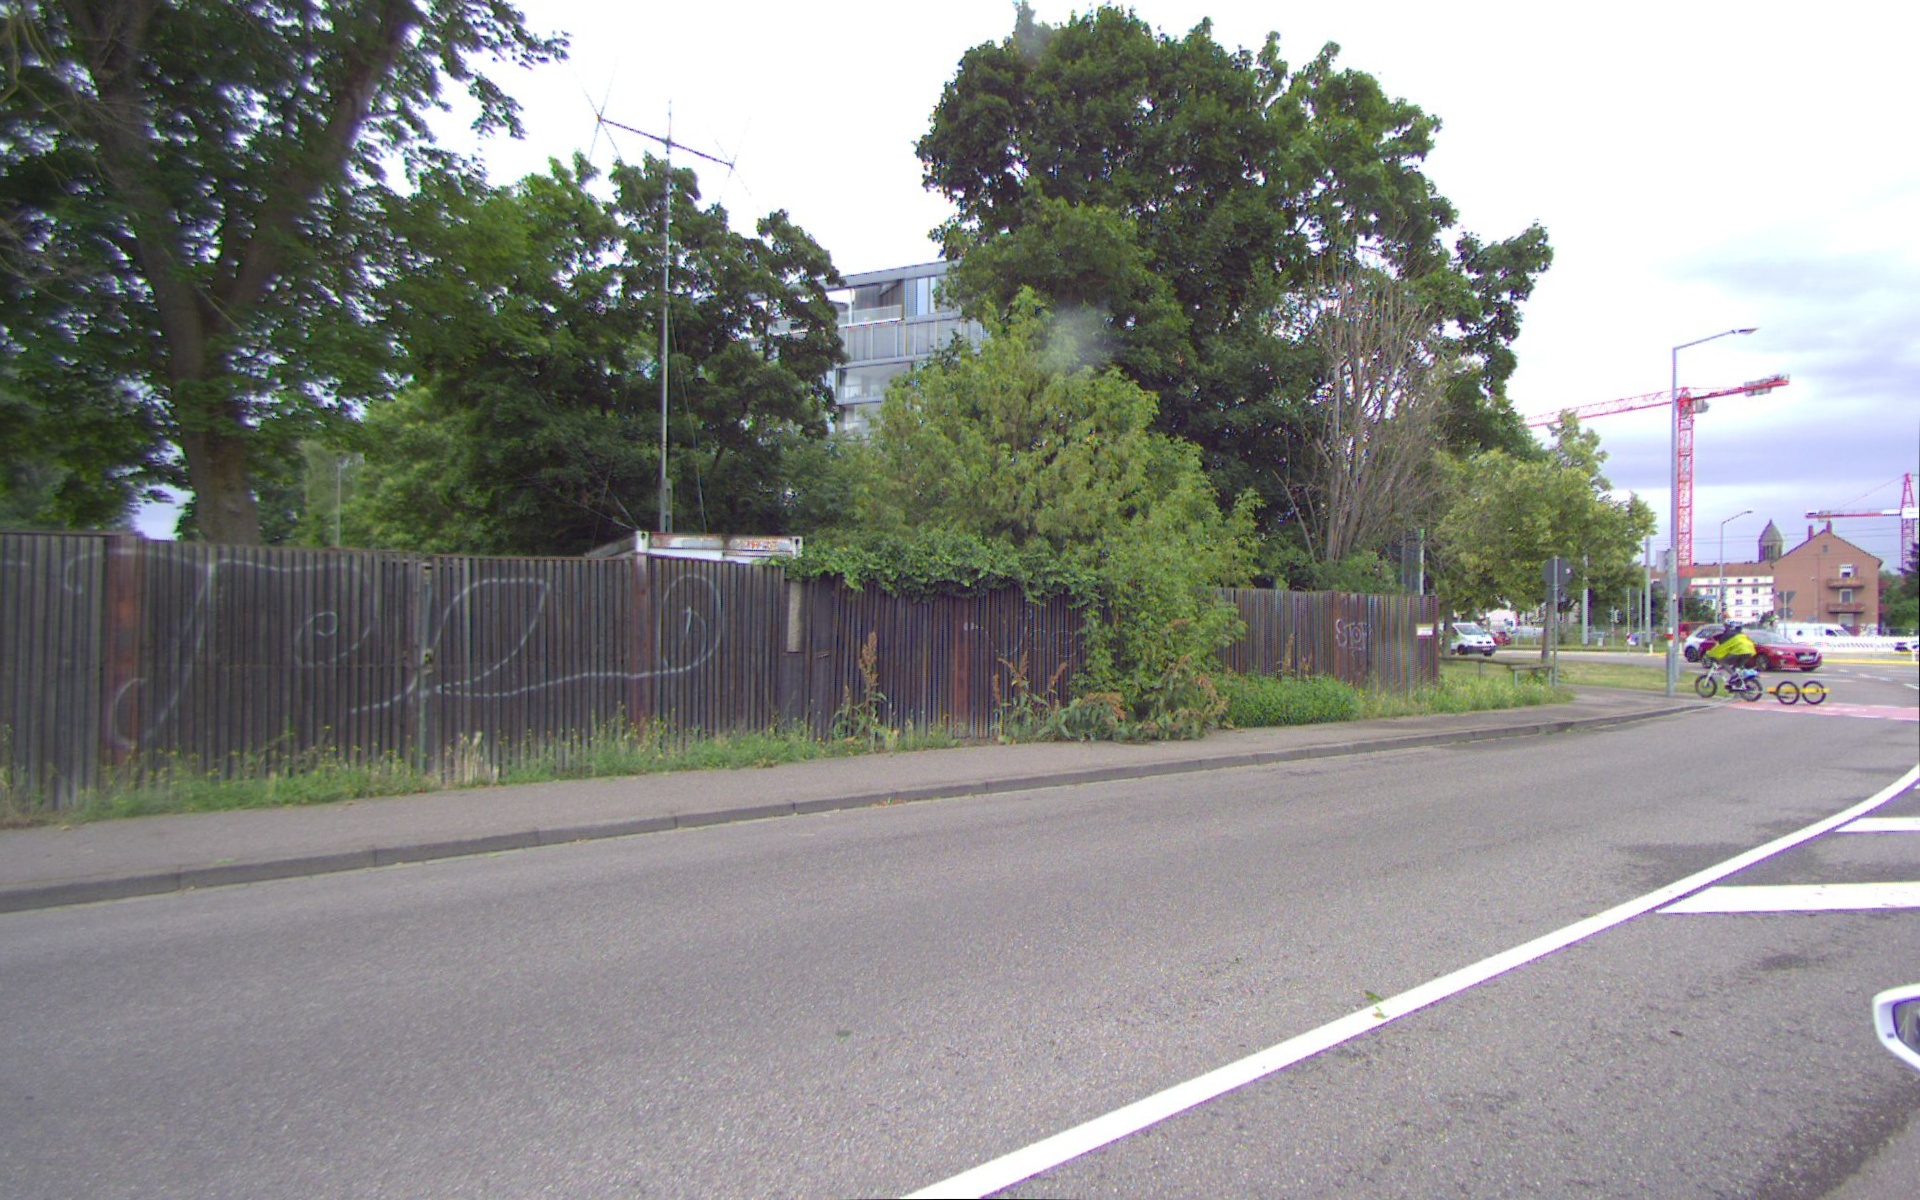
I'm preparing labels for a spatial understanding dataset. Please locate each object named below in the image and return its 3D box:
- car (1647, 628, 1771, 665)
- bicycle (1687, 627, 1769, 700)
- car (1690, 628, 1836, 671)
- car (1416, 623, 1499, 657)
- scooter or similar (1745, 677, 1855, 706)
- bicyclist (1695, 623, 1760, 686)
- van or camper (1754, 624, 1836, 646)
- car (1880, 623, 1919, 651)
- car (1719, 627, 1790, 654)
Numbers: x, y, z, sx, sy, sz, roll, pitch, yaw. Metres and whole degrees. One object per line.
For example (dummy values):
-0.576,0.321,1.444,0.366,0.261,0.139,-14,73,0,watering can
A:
32.943,2.010,44.287,1.970,1.528,3.981,1,-1,-21,car
17.844,1.449,23.377,0.595,1.633,1.478,1,-1,-13,bicycle
29.725,1.805,37.395,1.960,1.483,4.358,0,-1,0,car
29.123,2.322,58.959,2.060,1.925,4.843,1,-1,-7,car
18.206,1.975,21.809,0.909,0.511,1.608,1,-1,-15,scooter or similar
17.838,1.253,23.372,0.604,1.420,1.062,1,-1,-13,bicyclist
82.466,3.411,99.350,1.969,2.040,6.171,1,-1,-19,van or camper
59.010,2.255,60.742,4.580,1.656,2.001,0,-1,9,car
46.390,2.325,58.650,3.953,1.509,1.922,1,-1,-30,car
